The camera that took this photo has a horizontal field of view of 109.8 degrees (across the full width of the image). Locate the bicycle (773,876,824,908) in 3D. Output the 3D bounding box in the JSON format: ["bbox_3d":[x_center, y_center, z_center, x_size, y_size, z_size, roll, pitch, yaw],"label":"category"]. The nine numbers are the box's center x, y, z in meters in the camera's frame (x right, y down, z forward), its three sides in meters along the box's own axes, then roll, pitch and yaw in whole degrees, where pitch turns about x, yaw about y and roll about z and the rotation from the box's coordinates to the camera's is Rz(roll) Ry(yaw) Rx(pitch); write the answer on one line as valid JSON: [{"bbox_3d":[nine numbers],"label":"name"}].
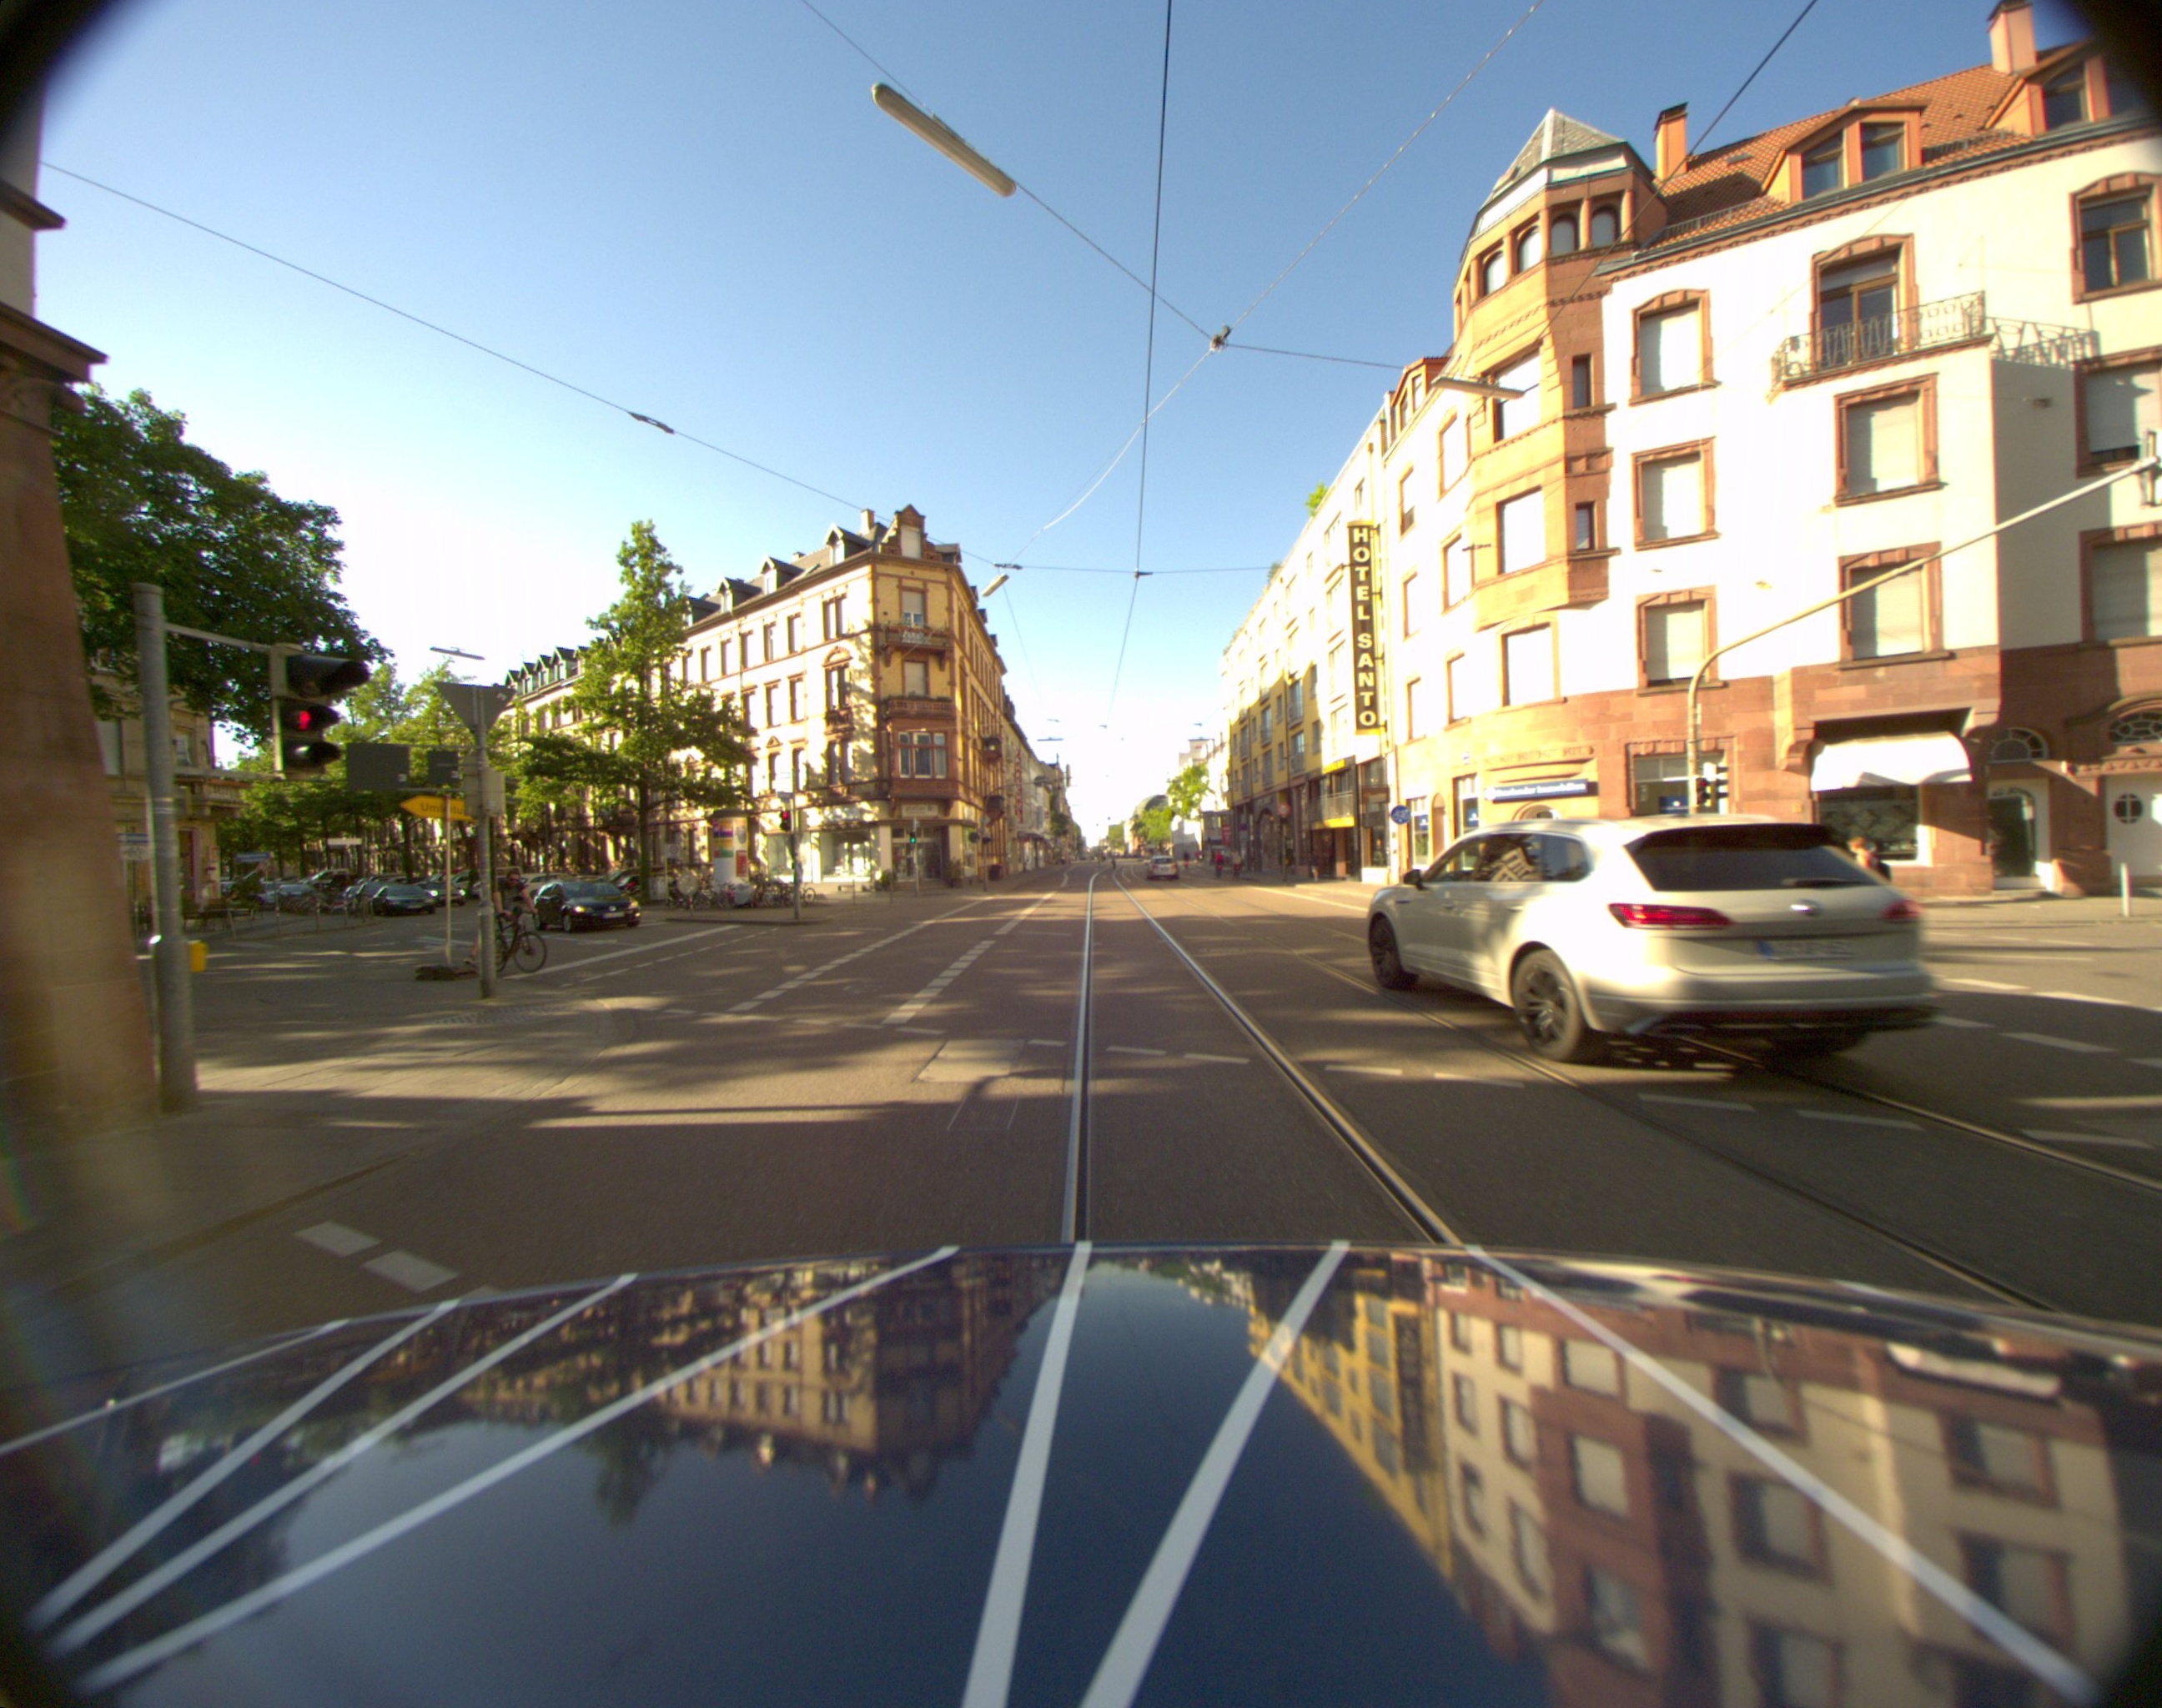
[{"bbox_3d":[-11.587,1.540,31.273,0.617,1.136,2.123,-1,2,23],"label":"bicycle"}]

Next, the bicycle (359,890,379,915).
[{"bbox_3d":[-31.100,2.096,33.174,1.873,1.037,0.399,-2,1,41],"label":"bicycle"}]

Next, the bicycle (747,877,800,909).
[{"bbox_3d":[-12.691,1.598,31.436,0.617,1.136,2.122,-1,3,23],"label":"bicycle"}]

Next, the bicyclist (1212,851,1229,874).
[{"bbox_3d":[8.445,0.495,46.065,0.737,1.373,1.468,-2,0,-1],"label":"bicyclist"}]

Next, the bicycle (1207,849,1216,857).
[{"bbox_3d":[16.159,-0.112,94.203,0.525,1.030,1.878,-2,0,-7],"label":"bicycle"}]

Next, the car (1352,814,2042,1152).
[{"bbox_3d":[4.091,0.676,6.315,1.999,1.734,4.562,-2,0,0],"label":"car"}]

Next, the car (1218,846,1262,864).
[{"bbox_3d":[16.957,0.129,81.129,4.243,1.801,1.785,-2,0,2],"label":"car"}]

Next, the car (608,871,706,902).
[{"bbox_3d":[-22.006,1.661,39.570,1.820,1.363,4.007,-1,0,31],"label":"car"}]

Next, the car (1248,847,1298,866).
[{"bbox_3d":[17.805,0.226,70.592,4.244,1.540,1.784,-1,2,1],"label":"car"}]

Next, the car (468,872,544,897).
[{"bbox_3d":[-38.572,2.016,51.019,1.547,1.516,3.691,-2,0,32],"label":"car"}]

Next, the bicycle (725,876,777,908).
[{"bbox_3d":[-13.863,1.588,31.986,0.617,1.136,2.122,-1,3,23],"label":"bicycle"}]

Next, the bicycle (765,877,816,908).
[{"bbox_3d":[-11.998,1.572,31.497,0.617,1.136,2.123,-1,2,23],"label":"bicycle"}]

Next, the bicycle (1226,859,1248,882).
[{"bbox_3d":[8.693,0.898,42.375,0.732,1.177,2.061,-3,2,-1],"label":"bicycle"}]

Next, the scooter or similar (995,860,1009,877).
[{"bbox_3d":[-5.432,0.996,52.314,0.792,1.142,0.790,2,0,-1],"label":"scooter or similar"}]

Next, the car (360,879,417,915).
[{"bbox_3d":[-35.743,2.166,39.187,4.238,1.596,1.849,-1,2,45],"label":"car"}]

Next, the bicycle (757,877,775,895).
[{"bbox_3d":[-17.571,1.785,42.359,0.996,0.998,0.398,-2,1,36],"label":"bicycle"}]

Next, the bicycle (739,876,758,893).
[{"bbox_3d":[-18.950,1.717,43.328,1.283,0.951,0.398,-1,1,36],"label":"bicycle"}]

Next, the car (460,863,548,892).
[{"bbox_3d":[-40.694,1.626,53.699,1.547,1.822,4.680,-1,0,35],"label":"car"}]

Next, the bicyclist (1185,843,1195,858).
[{"bbox_3d":[9.773,-0.310,68.256,0.726,1.373,1.227,-2,1,-1],"label":"bicyclist"}]

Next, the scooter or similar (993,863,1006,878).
[{"bbox_3d":[-5.495,1.085,51.051,0.792,0.952,0.680,2,0,-1],"label":"scooter or similar"}]

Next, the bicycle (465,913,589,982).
[{"bbox_3d":[-9.640,1.592,13.212,2.092,1.039,0.849,-3,2,28],"label":"bicycle"}]

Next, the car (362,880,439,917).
[{"bbox_3d":[-31.928,2.045,35.627,4.238,1.490,1.848,-2,2,38],"label":"car"}]

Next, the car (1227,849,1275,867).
[{"bbox_3d":[16.444,0.354,73.740,4.243,1.600,1.785,-2,0,2],"label":"car"}]

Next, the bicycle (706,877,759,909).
[{"bbox_3d":[-14.924,1.665,32.597,0.617,1.136,2.122,-1,3,23],"label":"bicycle"}]

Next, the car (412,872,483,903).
[{"bbox_3d":[-36.320,1.902,43.531,4.239,1.596,1.848,-2,1,32],"label":"car"}]

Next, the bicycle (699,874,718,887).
[{"bbox_3d":[-22.697,1.610,46.305,1.342,0.793,0.398,-2,1,36],"label":"bicycle"}]

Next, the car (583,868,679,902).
[{"bbox_3d":[-24.156,1.634,40.939,1.820,1.592,4.007,-1,0,30],"label":"car"}]

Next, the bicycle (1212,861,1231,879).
[{"bbox_3d":[8.470,0.959,45.959,0.732,1.059,2.061,0,0,-1],"label":"bicycle"}]

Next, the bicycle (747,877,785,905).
[{"bbox_3d":[-14.378,1.664,34.670,0.543,1.136,1.619,-1,3,23],"label":"bicycle"}]

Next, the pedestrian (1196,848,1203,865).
[{"bbox_3d":[13.591,0.248,87.083,0.639,1.935,0.709,-2,1,0],"label":"pedestrian"}]

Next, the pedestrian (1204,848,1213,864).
[{"bbox_3d":[14.297,0.258,85.303,0.715,1.754,0.779,-2,1,-8],"label":"pedestrian"}]

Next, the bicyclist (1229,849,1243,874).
[{"bbox_3d":[8.676,0.416,42.488,0.591,1.368,0.679,-2,1,-1],"label":"bicyclist"}]

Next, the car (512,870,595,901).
[{"bbox_3d":[-32.208,1.895,46.487,1.516,1.747,3.872,-1,0,31],"label":"car"}]

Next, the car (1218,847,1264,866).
[{"bbox_3d":[15.942,0.266,76.047,4.244,1.802,1.784,-1,2,1],"label":"car"}]

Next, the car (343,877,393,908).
[{"bbox_3d":[-40.494,2.126,43.121,4.238,1.595,1.849,-1,0,44],"label":"car"}]

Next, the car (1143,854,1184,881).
[{"bbox_3d":[4.956,0.783,46.372,1.990,1.493,4.308,-2,0,0],"label":"car"}]

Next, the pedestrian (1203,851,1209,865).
[{"bbox_3d":[14.278,0.418,86.636,0.573,1.608,0.499,-2,0,0],"label":"pedestrian"}]

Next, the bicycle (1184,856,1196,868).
[{"bbox_3d":[9.806,0.726,68.202,0.732,1.082,2.061,-2,0,-1],"label":"bicycle"}]

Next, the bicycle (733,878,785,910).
[{"bbox_3d":[-13.394,1.646,31.695,0.617,1.136,2.122,-1,3,23],"label":"bicycle"}]

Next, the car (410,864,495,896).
[{"bbox_3d":[-46.686,1.912,56.532,1.842,2.189,4.481,-2,0,32],"label":"car"}]

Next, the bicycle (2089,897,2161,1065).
[{"bbox_3d":[7.720,0.879,4.512,0.694,1.114,2.083,-2,0,0],"label":"bicycle"}]

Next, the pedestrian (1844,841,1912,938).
[{"bbox_3d":[13.137,0.573,12.536,0.544,1.543,0.516,-2,1,-1],"label":"pedestrian"}]

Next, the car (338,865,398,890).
[{"bbox_3d":[-70.799,2.271,75.504,1.547,2.308,4.008,-1,0,35],"label":"car"}]

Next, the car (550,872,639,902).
[{"bbox_3d":[-27.997,1.888,43.862,1.547,1.516,4.007,-1,0,31],"label":"car"}]

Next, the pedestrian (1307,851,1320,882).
[{"bbox_3d":[10.847,0.587,35.408,0.404,1.402,0.517,-1,1,33],"label":"pedestrian"}]

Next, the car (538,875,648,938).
[{"bbox_3d":[-14.192,1.431,21.982,1.848,1.490,4.238,-4,2,-43],"label":"car"}]

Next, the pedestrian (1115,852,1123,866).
[{"bbox_3d":[4.093,0.544,82.290,0.780,1.551,0.650,-2,0,1],"label":"pedestrian"}]

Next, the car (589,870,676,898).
[{"bbox_3d":[-25.677,1.688,43.587,1.547,1.349,4.007,-1,0,31],"label":"car"}]

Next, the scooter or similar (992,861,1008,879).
[{"bbox_3d":[-5.206,1.034,48.960,0.899,1.142,0.547,2,1,-1],"label":"scooter or similar"}]

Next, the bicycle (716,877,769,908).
[{"bbox_3d":[-14.383,1.627,32.347,0.617,1.136,2.122,-1,3,23],"label":"bicycle"}]

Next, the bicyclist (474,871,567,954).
[{"bbox_3d":[-9.756,0.994,13.233,1.132,1.335,0.839,-1,1,28],"label":"bicyclist"}]
